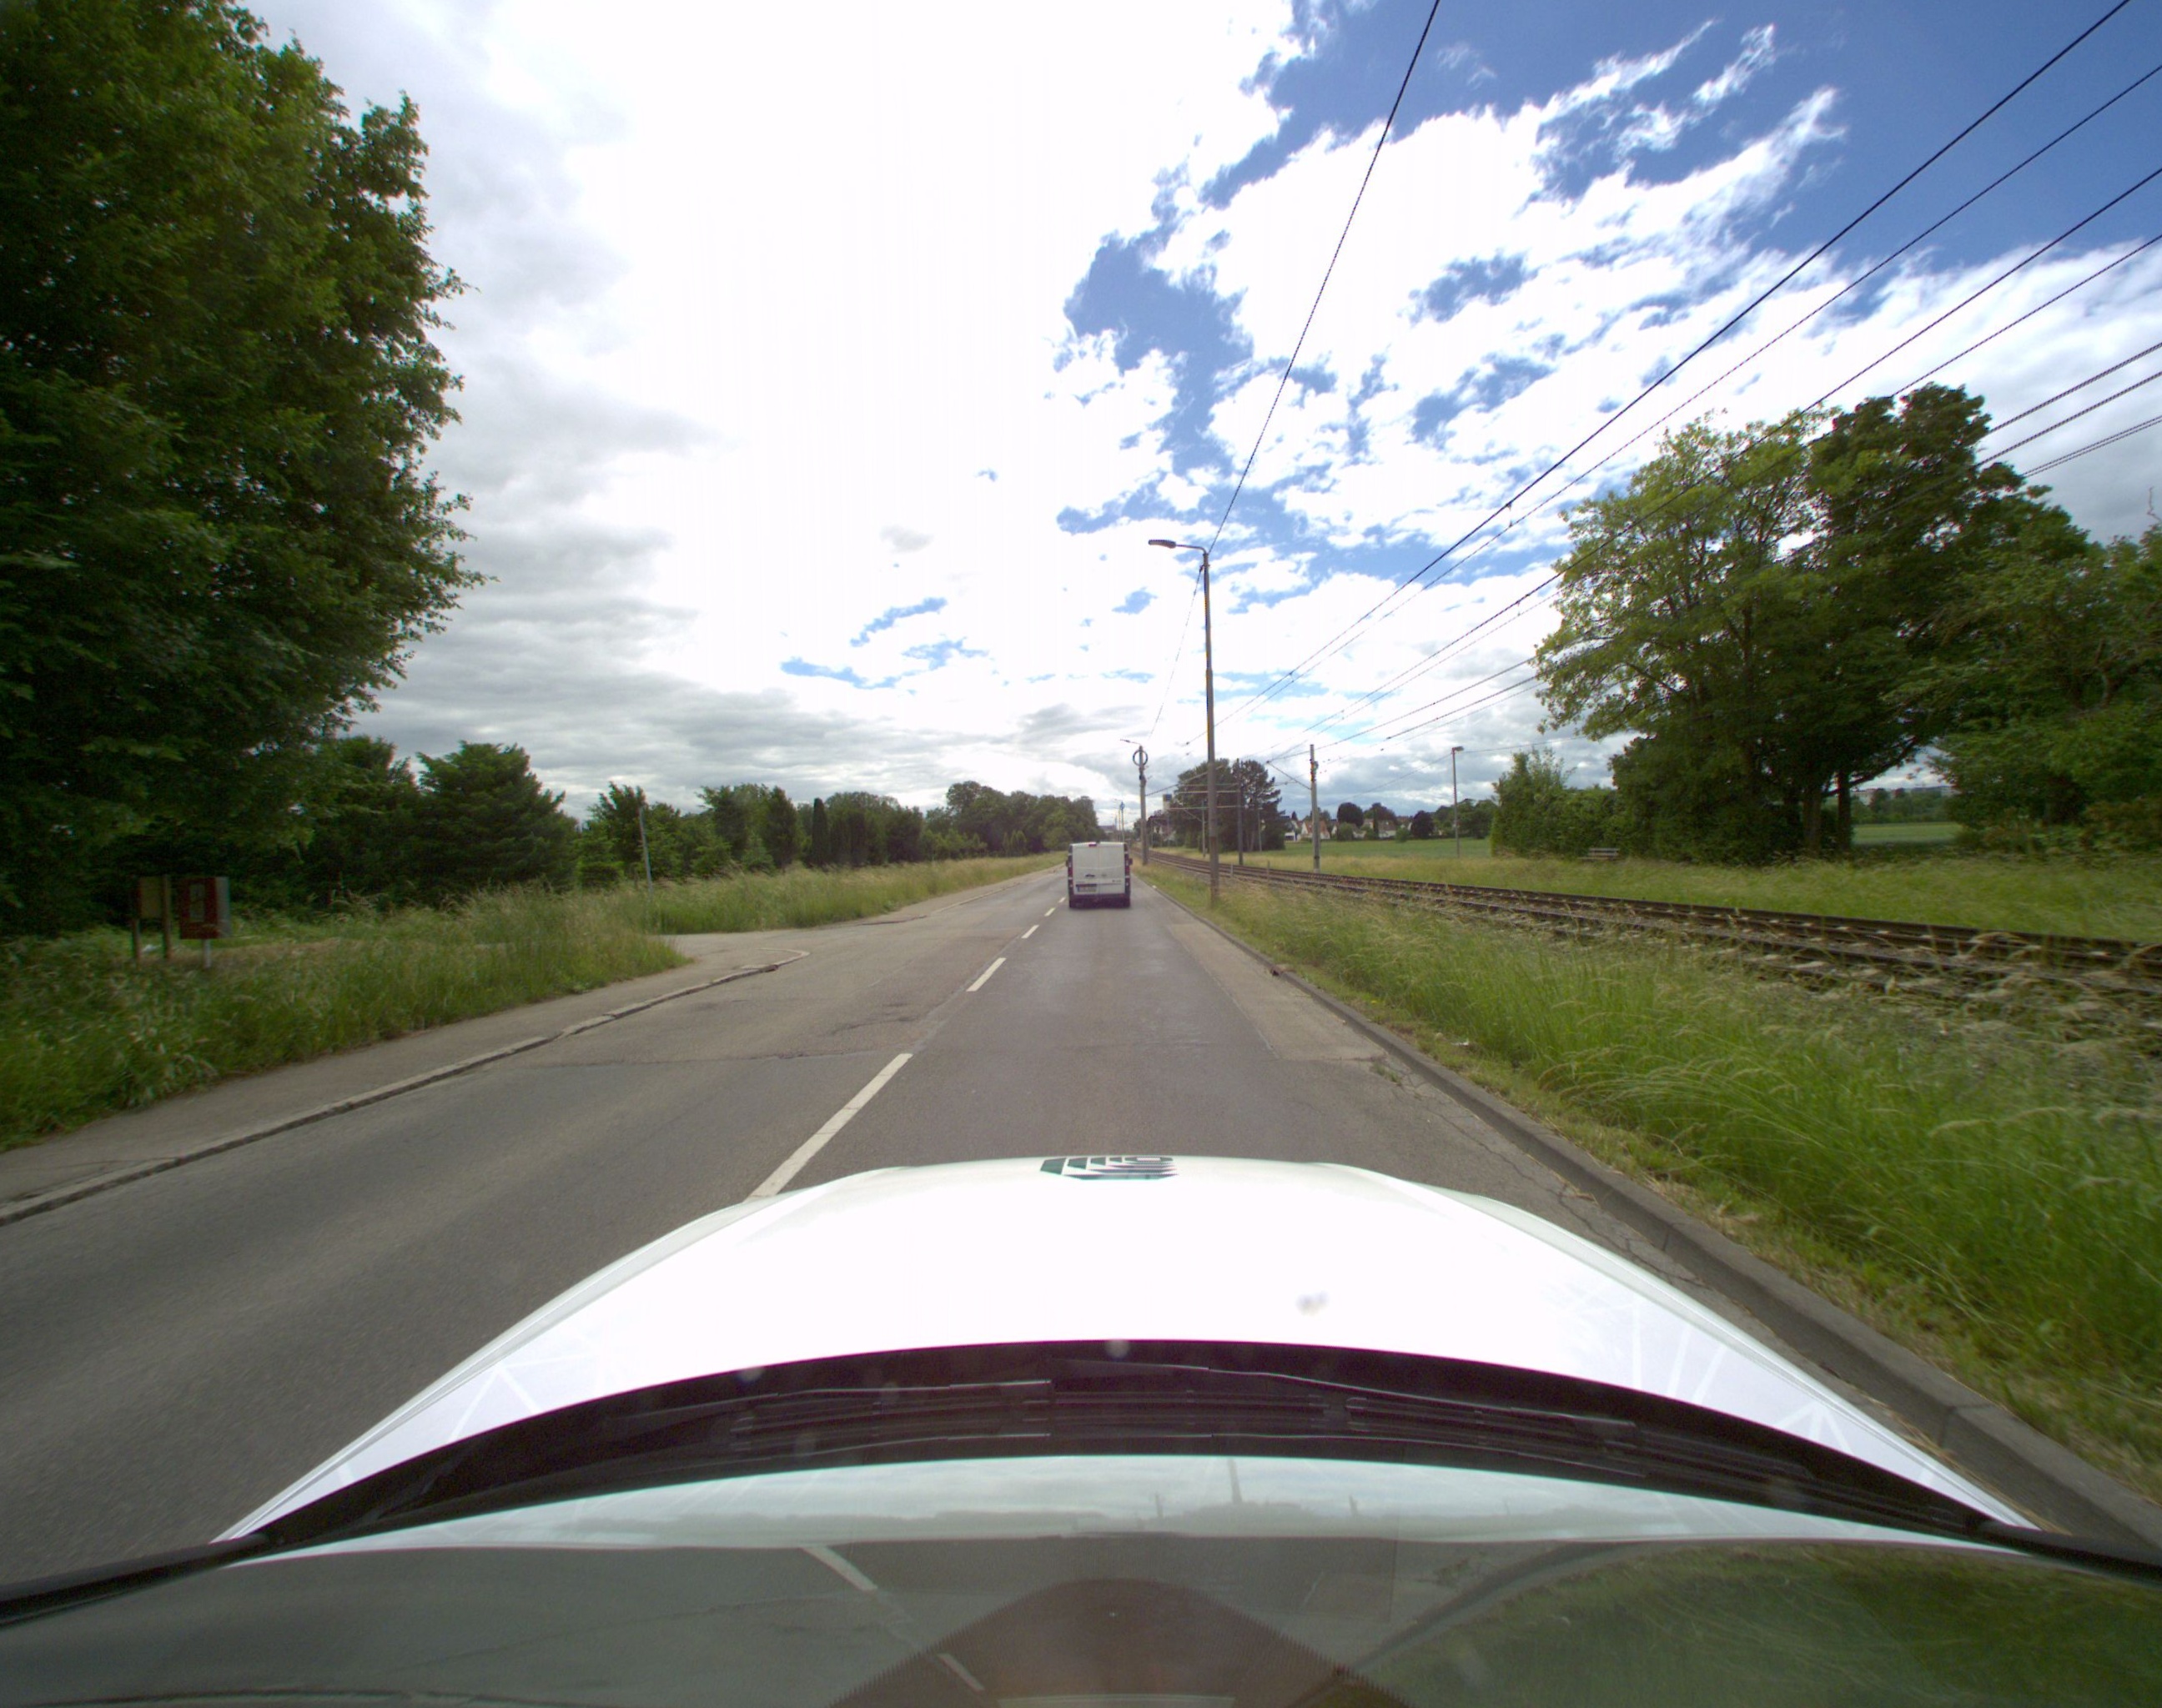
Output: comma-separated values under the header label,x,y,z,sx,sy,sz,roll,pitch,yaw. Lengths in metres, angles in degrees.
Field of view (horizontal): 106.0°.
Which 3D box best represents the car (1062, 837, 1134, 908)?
label,x,y,z,sx,sy,sz,roll,pitch,yaw
car,0.514,0.538,25.398,1.987,1.957,4.000,-2,0,0
